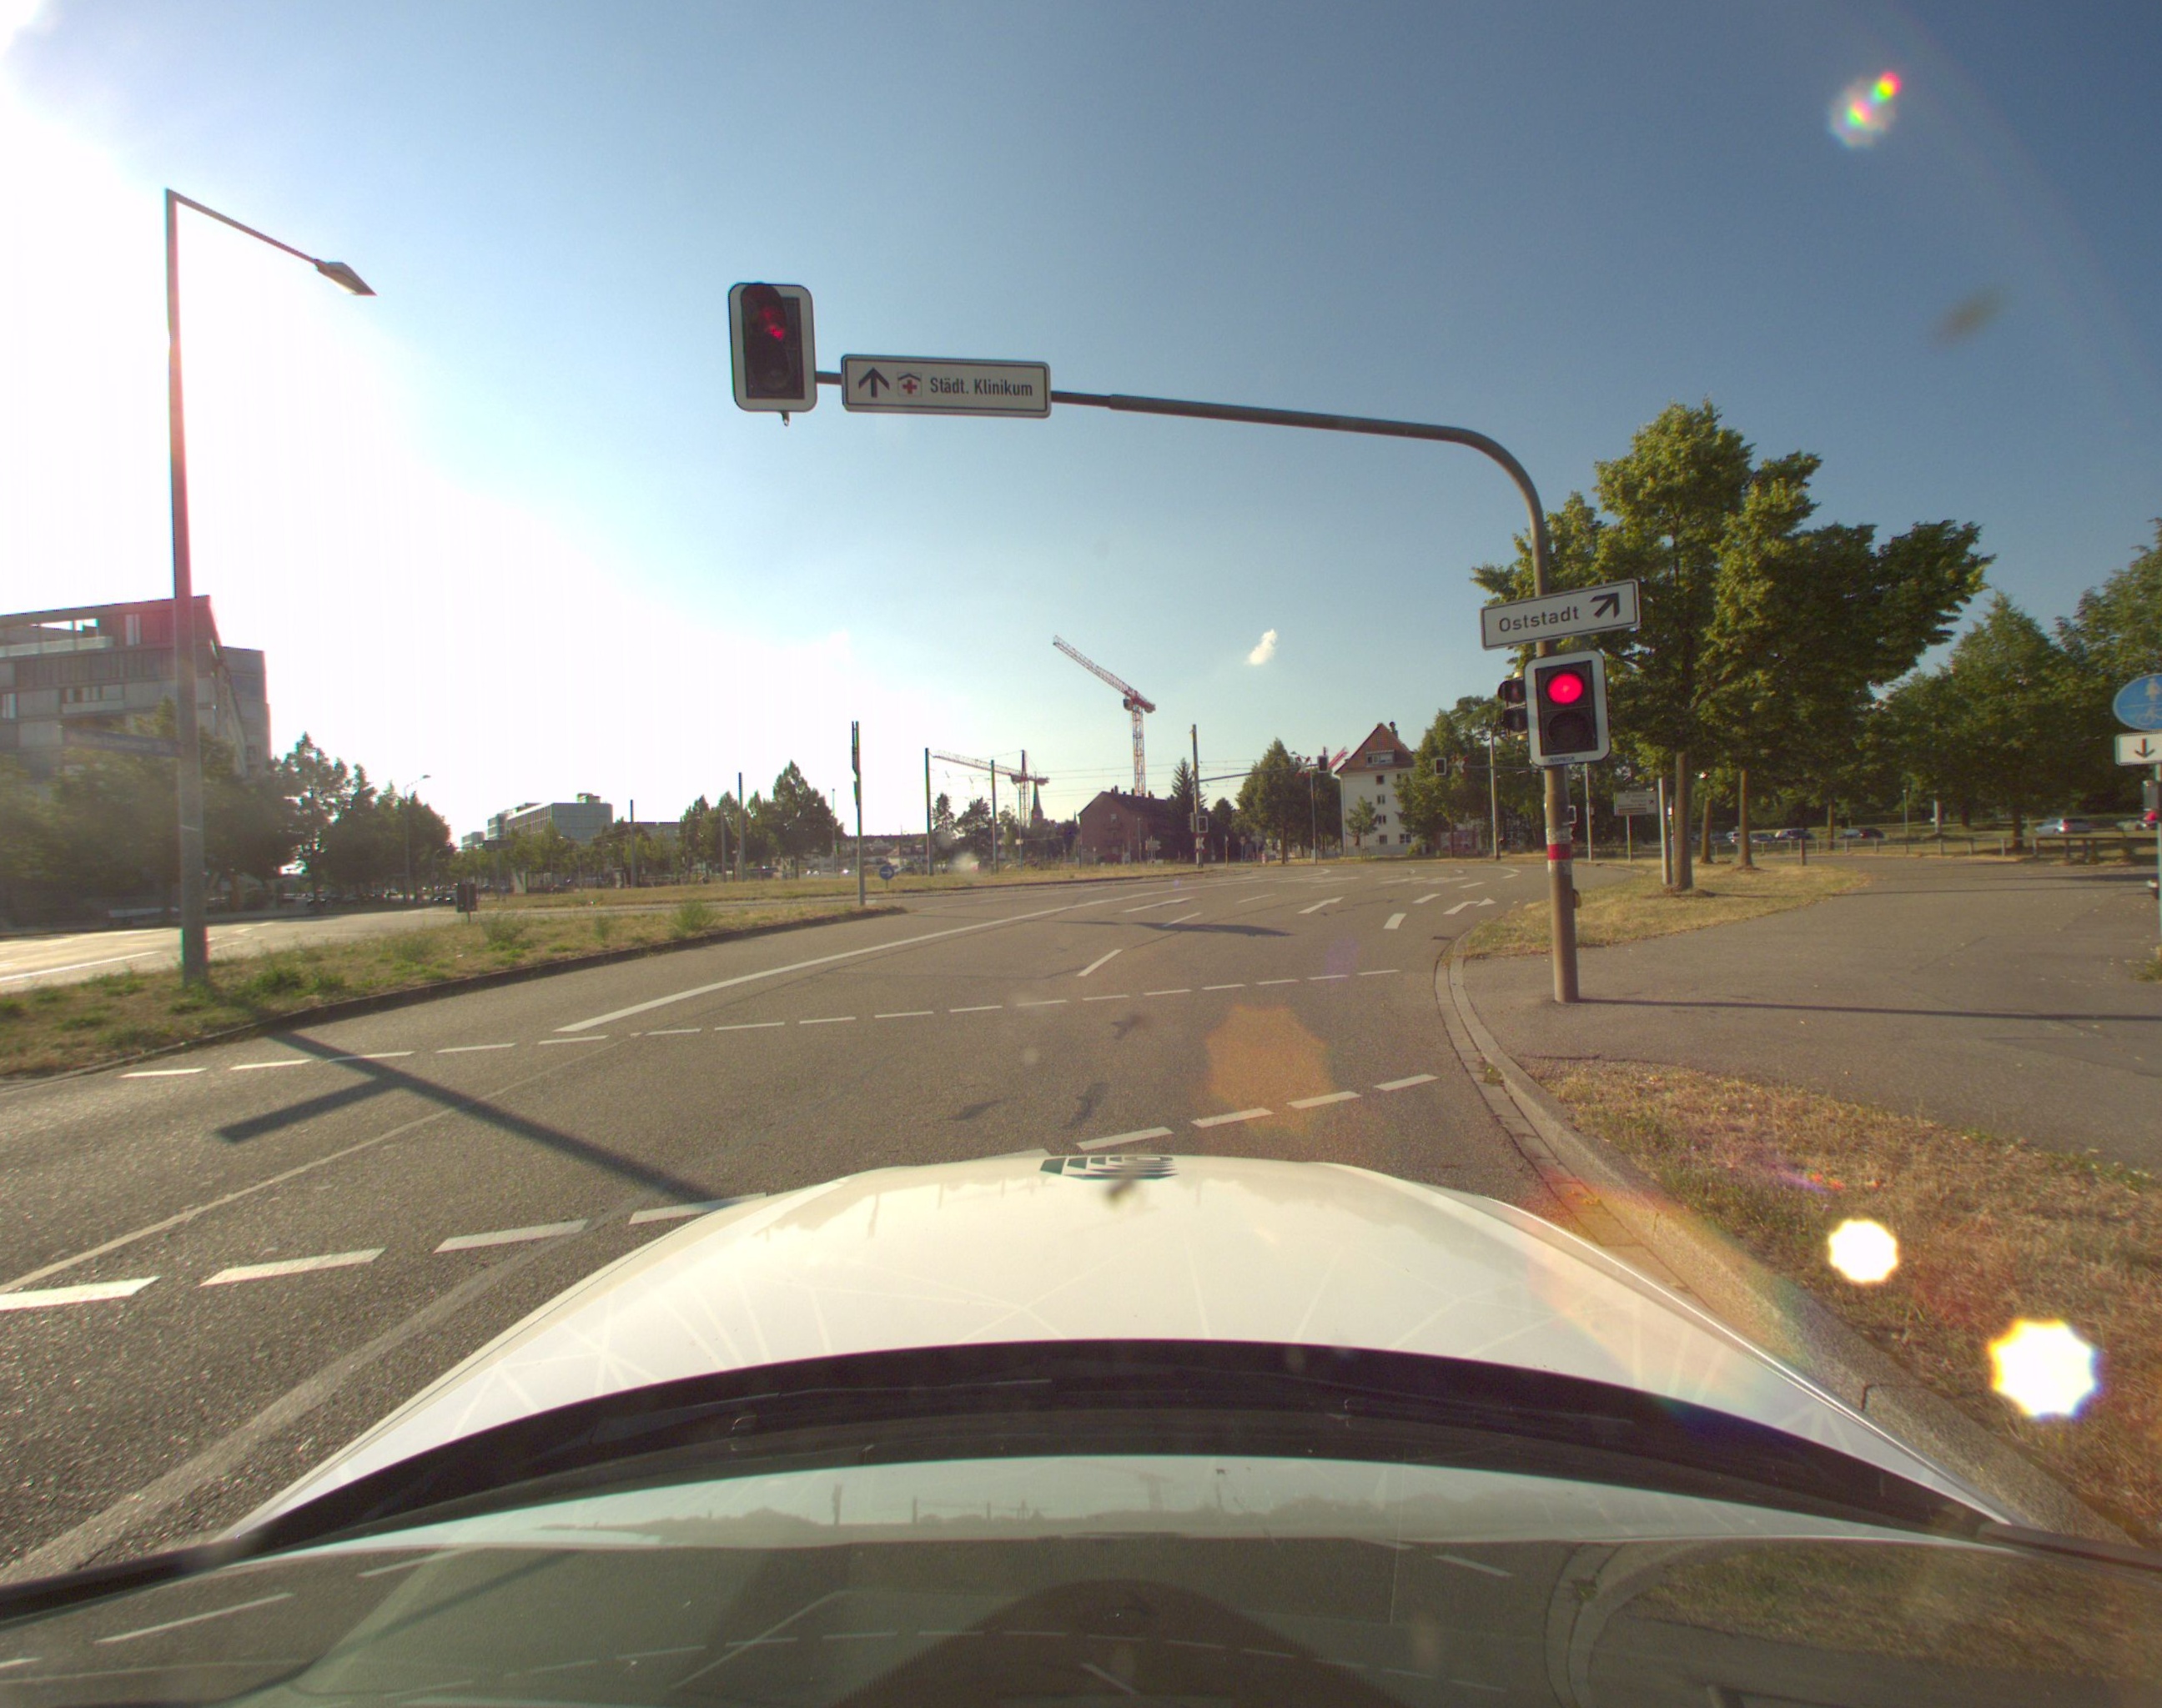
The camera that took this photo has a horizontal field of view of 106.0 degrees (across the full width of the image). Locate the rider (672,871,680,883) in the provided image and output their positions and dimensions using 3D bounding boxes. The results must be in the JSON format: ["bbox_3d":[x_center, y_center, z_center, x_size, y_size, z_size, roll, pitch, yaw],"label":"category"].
[{"bbox_3d":[-44.995,2.535,90.474,0.658,1.325,0.679,-2,0,-45],"label":"rider"}]

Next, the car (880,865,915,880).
[{"bbox_3d":[-23.776,2.405,105.706,4.013,1.816,1.981,-2,0,-30],"label":"car"}]

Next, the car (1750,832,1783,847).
[{"bbox_3d":[61.165,-1.265,72.729,1.586,1.221,3.993,-3,-1,30],"label":"car"}]

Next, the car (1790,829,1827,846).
[{"bbox_3d":[63.532,-1.393,71.154,1.586,1.402,3.993,-3,-1,30],"label":"car"}]

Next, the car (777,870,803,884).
[{"bbox_3d":[-47.129,3.696,131.859,3.948,2.013,2.013,-3,0,36],"label":"car"}]

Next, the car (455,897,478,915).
[{"bbox_3d":[-58.566,4.935,77.616,1.493,1.475,3.260,-2,0,-42],"label":"car"}]

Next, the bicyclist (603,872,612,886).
[{"bbox_3d":[-47.158,2.474,81.108,0.658,1.325,0.512,-2,0,-45],"label":"bicyclist"}]

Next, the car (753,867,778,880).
[{"bbox_3d":[-53.221,3.372,137.426,3.948,2.013,2.013,-3,0,36],"label":"car"}]

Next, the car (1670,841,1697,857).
[{"bbox_3d":[55.993,-0.485,75.717,1.586,1.402,3.993,-3,-1,30],"label":"car"}]

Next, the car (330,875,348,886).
[{"bbox_3d":[-110.687,3.920,121.433,1.800,1.556,3.950,0,-1,-45],"label":"car"}]

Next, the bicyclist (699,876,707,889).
[{"bbox_3d":[-40.194,3.004,86.597,0.658,1.325,0.512,-2,0,-45],"label":"bicyclist"}]

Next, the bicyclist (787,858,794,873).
[{"bbox_3d":[-33.225,1.349,93.095,0.610,1.672,0.473,-2,-1,-29],"label":"bicyclist"}]

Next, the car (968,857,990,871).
[{"bbox_3d":[-14.675,1.402,116.877,1.929,1.854,3.965,-2,0,-26],"label":"car"}]

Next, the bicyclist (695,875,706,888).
[{"bbox_3d":[-41.306,2.957,88.405,0.959,1.357,0.687,-2,0,-26],"label":"bicyclist"}]

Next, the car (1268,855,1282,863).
[{"bbox_3d":[33.220,0.860,139.475,1.442,1.300,3.569,-3,0,26],"label":"car"}]

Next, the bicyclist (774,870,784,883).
[{"bbox_3d":[-33.884,2.510,91.471,0.958,1.357,0.688,-2,0,-24],"label":"bicyclist"}]

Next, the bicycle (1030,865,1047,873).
[{"bbox_3d":[-4.977,1.777,96.313,1.983,0.918,0.429,-2,0,-4],"label":"bicycle"}]

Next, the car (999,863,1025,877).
[{"bbox_3d":[-11.292,2.640,133.244,3.776,2.014,1.680,-3,-1,20],"label":"car"}]

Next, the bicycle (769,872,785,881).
[{"bbox_3d":[-34.123,2.529,91.314,1.622,0.860,0.541,-2,0,-24],"label":"bicycle"}]

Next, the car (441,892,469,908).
[{"bbox_3d":[-63.593,4.681,82.723,2.011,1.475,3.952,-2,0,-42],"label":"car"}]

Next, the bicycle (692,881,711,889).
[{"bbox_3d":[-40.304,3.272,86.482,0.474,0.744,1.732,-3,0,45],"label":"bicycle"}]

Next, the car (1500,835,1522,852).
[{"bbox_3d":[42.925,-1.017,81.220,1.754,1.618,3.993,-3,-1,30],"label":"car"}]

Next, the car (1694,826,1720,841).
[{"bbox_3d":[64.534,-2.110,83.962,1.586,1.402,3.993,-3,-1,30],"label":"car"}]

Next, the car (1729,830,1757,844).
[{"bbox_3d":[67.263,-1.709,82.796,1.586,1.402,3.993,-3,-1,30],"label":"car"}]

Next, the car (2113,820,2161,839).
[{"bbox_3d":[82.706,-1.892,63.059,1.804,1.403,4.023,-3,-1,26],"label":"car"}]

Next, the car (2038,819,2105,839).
[{"bbox_3d":[78.389,-1.923,64.516,1.804,1.403,4.023,-3,-1,26],"label":"car"}]

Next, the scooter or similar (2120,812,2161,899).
[{"bbox_3d":[15.406,-0.001,11.610,1.172,1.160,0.340,-4,-3,-23],"label":"scooter or similar"}]

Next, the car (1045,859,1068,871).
[{"bbox_3d":[-4.587,2.092,149.852,3.776,2.014,1.680,-3,-1,20],"label":"car"}]

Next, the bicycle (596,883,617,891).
[{"bbox_3d":[-47.193,3.285,81.080,0.474,0.744,1.732,-3,0,45],"label":"bicycle"}]

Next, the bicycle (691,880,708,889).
[{"bbox_3d":[-41.387,3.290,88.356,1.622,0.860,0.541,-2,0,-24],"label":"bicycle"}]

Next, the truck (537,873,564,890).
[{"bbox_3d":[-106.490,5.476,163.377,3.156,3.231,7.085,-2,0,-44],"label":"truck"}]

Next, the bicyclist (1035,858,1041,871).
[{"bbox_3d":[-5.091,1.294,96.314,0.621,1.511,0.418,-2,0,-4],"label":"bicyclist"}]

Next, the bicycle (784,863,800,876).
[{"bbox_3d":[-33.054,1.764,93.162,1.549,1.473,0.475,-2,0,-30],"label":"bicycle"}]

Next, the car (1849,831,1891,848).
[{"bbox_3d":[67.068,-1.235,69.249,1.586,1.310,3.993,-3,-1,30],"label":"car"}]
